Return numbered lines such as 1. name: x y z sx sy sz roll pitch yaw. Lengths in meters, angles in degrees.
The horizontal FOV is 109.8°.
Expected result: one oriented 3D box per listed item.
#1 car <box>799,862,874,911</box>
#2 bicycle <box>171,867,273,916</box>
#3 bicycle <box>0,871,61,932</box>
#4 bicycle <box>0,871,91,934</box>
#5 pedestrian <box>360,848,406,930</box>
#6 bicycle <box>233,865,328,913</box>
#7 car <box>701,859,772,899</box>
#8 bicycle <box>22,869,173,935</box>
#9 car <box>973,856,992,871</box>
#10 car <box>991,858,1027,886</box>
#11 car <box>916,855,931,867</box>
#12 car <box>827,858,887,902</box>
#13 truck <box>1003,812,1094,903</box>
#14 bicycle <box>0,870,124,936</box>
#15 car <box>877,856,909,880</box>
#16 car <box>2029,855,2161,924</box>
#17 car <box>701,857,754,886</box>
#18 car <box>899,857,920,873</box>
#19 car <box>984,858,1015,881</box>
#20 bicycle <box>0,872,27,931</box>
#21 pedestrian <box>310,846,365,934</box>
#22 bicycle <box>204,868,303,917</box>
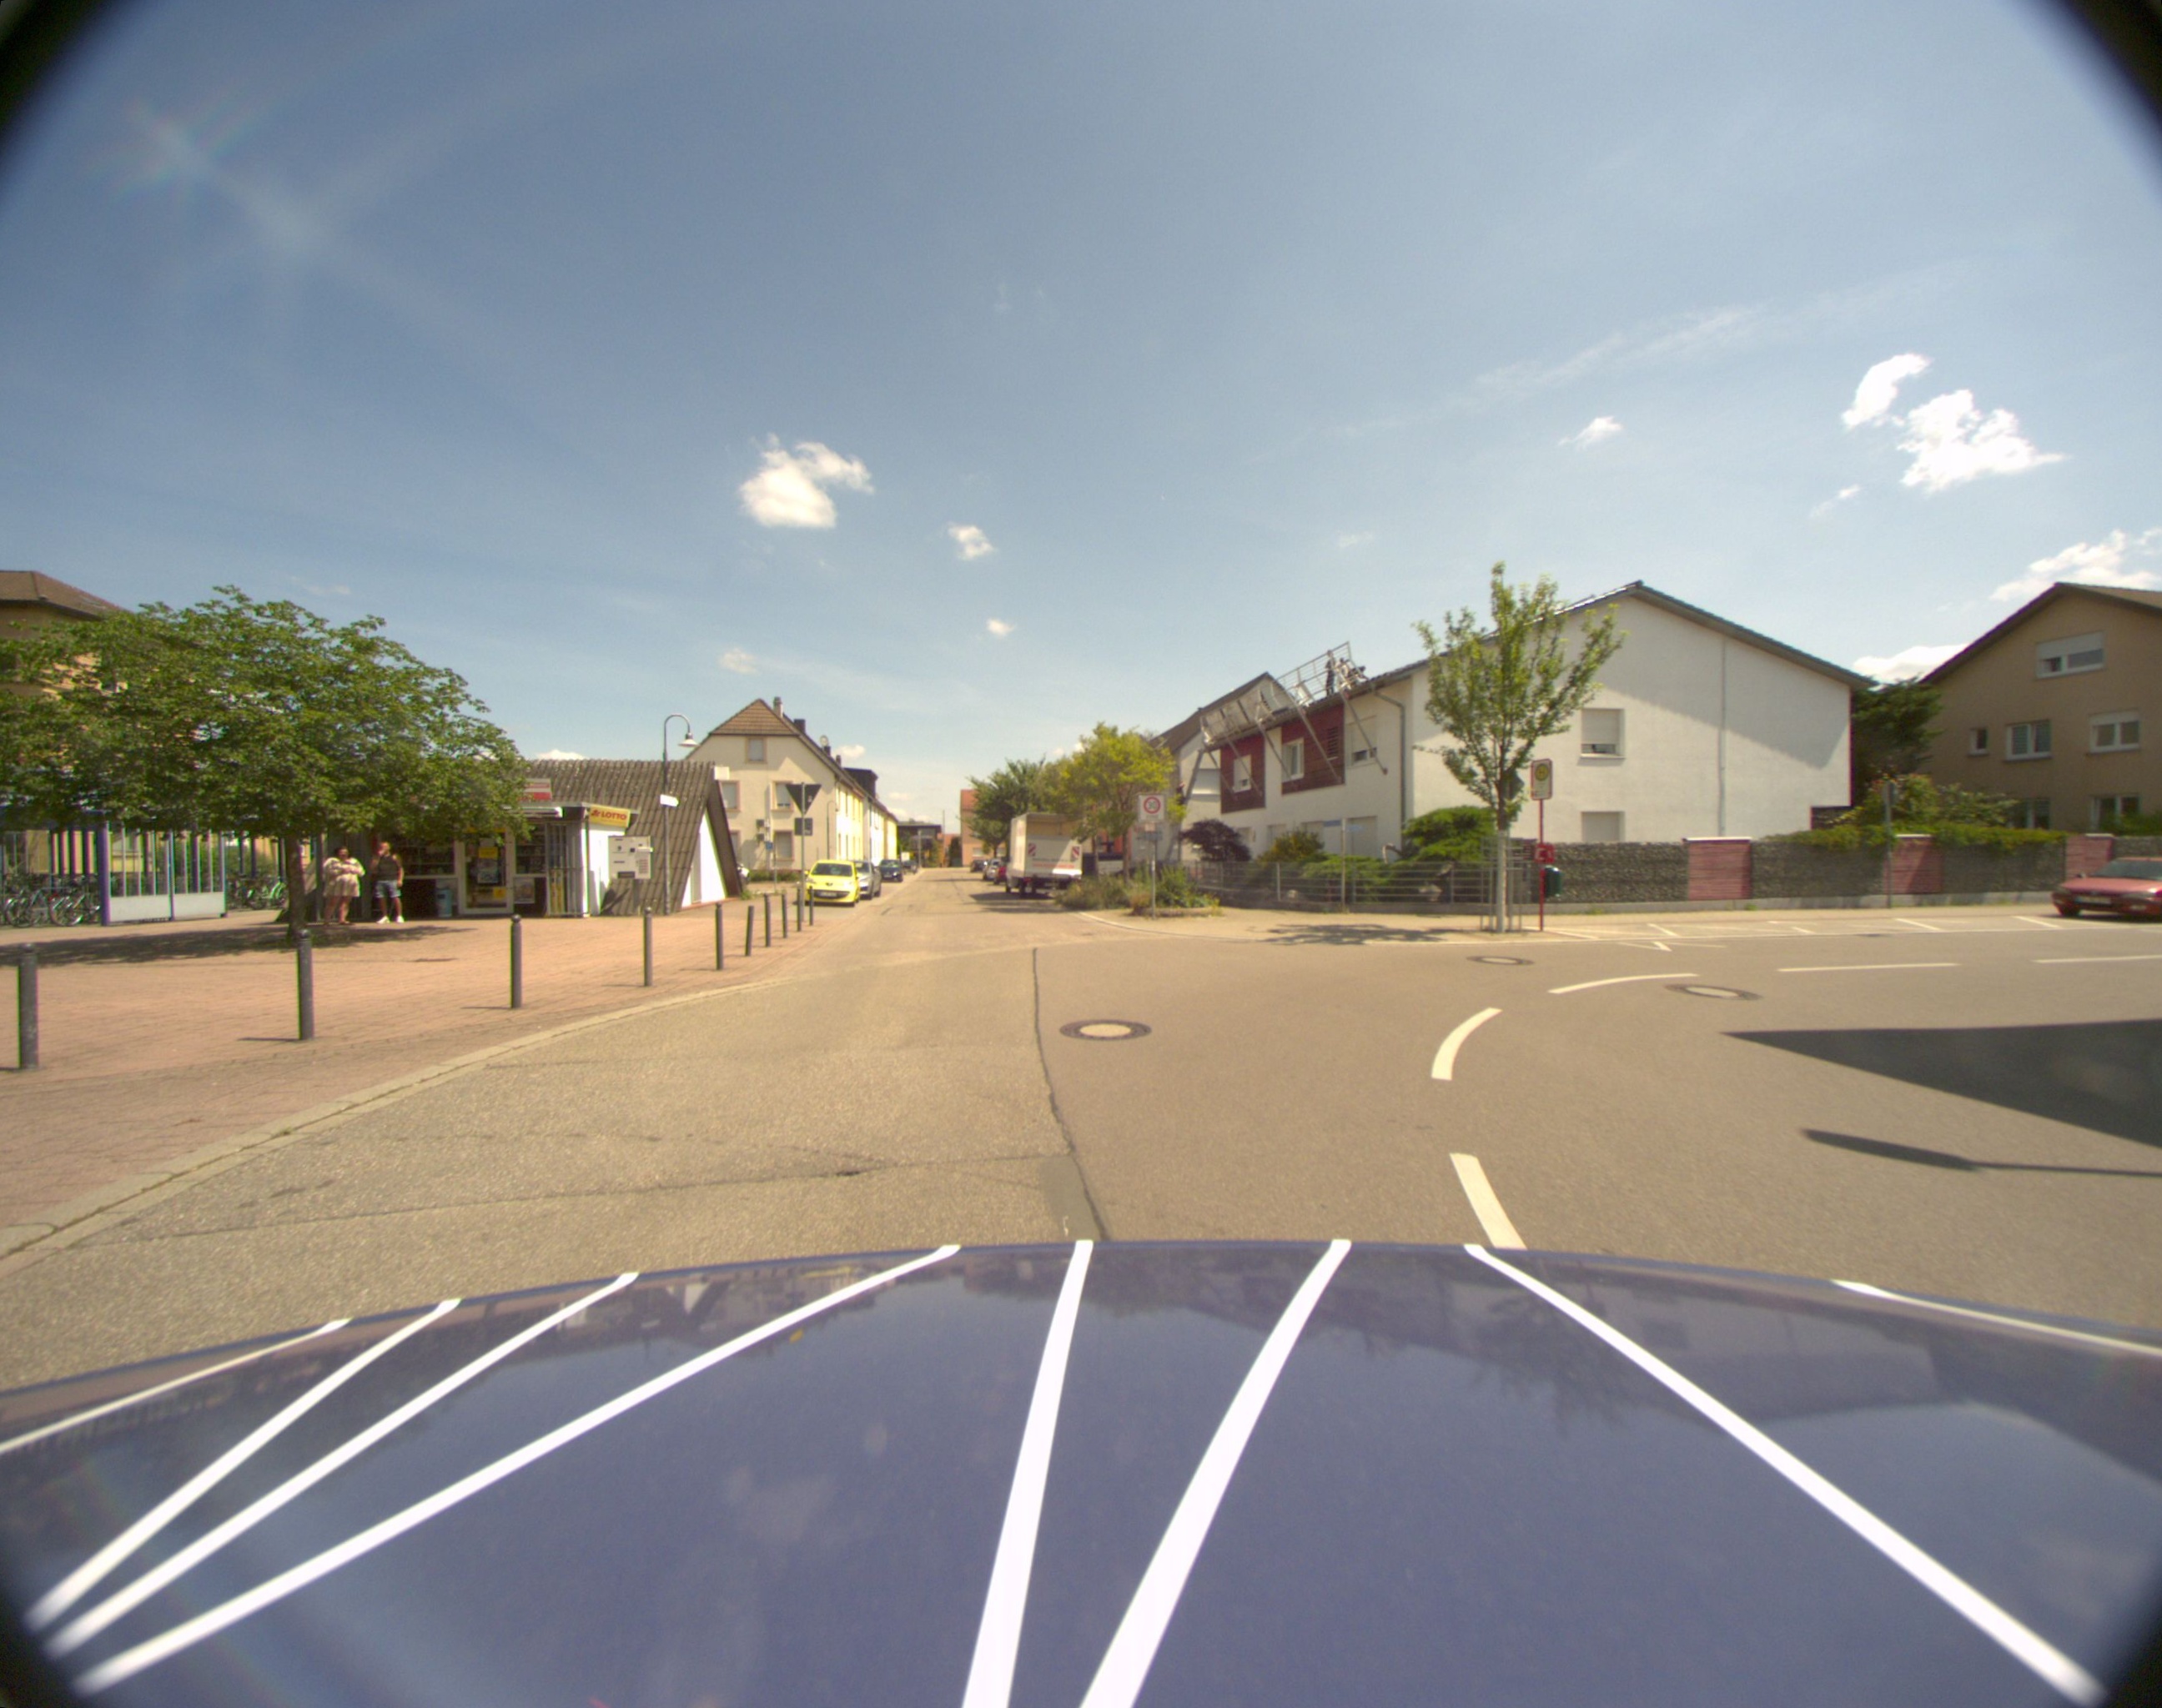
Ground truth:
1. car: -8.054 1.014 25.361 1.722 1.390 4.211 3 -1 -10
2. bicycle: -25.545 1.078 22.658 0.605 1.343 2.351 0 0 -7
3. bicycle: -24.573 1.089 16.971 0.605 1.343 2.351 0 0 -7
4. bicycle: -23.736 1.066 16.887 0.605 1.343 2.351 0 0 -7
5. pedestrian: -15.008 0.739 16.344 0.463 1.710 0.599 0 1 31
6. bicycle: -23.990 1.015 22.848 0.605 1.343 2.351 0 0 -7
7. car: -12.704 0.871 28.217 1.506 1.302 3.506 3 -1 -10
8. bicycle: -22.213 1.030 17.254 0.605 1.343 2.351 0 0 -7
9. car: -10.540 0.964 81.217 1.722 1.491 4.211 2 0 -11
10. car: -4.301 1.033 44.811 1.722 1.491 4.211 2 0 -11
11. car: -21.578 0.981 104.021 1.722 1.491 4.211 3 -1 -10
12. car: -8.726 0.972 29.892 1.722 1.491 4.211 3 -1 -10
13. truck: -1.525 0.141 31.097 2.446 3.227 7.029 3 0 -12
14. bicycle: -22.959 1.045 16.901 0.605 1.343 2.351 0 0 -7
15. car: -12.852 0.939 52.104 1.722 1.491 4.211 3 -1 -10
16. car: 23.933 0.744 17.038 3.678 1.390 1.720 0 2 -9
17. car: -17.825 0.866 38.463 1.506 1.302 3.506 3 -1 -10
18. car: -16.711 1.043 74.148 1.722 1.491 4.211 3 -1 -10
19. car: -5.515 1.013 51.160 1.722 1.491 4.211 2 0 -11
20. bicycle: -25.334 1.110 16.934 0.605 1.343 2.351 0 0 -7
21. pedestrian: -15.392 0.719 15.726 0.548 1.778 0.682 0 1 31
22. bicycle: -24.739 1.111 22.789 0.605 1.343 2.351 0 0 -7
